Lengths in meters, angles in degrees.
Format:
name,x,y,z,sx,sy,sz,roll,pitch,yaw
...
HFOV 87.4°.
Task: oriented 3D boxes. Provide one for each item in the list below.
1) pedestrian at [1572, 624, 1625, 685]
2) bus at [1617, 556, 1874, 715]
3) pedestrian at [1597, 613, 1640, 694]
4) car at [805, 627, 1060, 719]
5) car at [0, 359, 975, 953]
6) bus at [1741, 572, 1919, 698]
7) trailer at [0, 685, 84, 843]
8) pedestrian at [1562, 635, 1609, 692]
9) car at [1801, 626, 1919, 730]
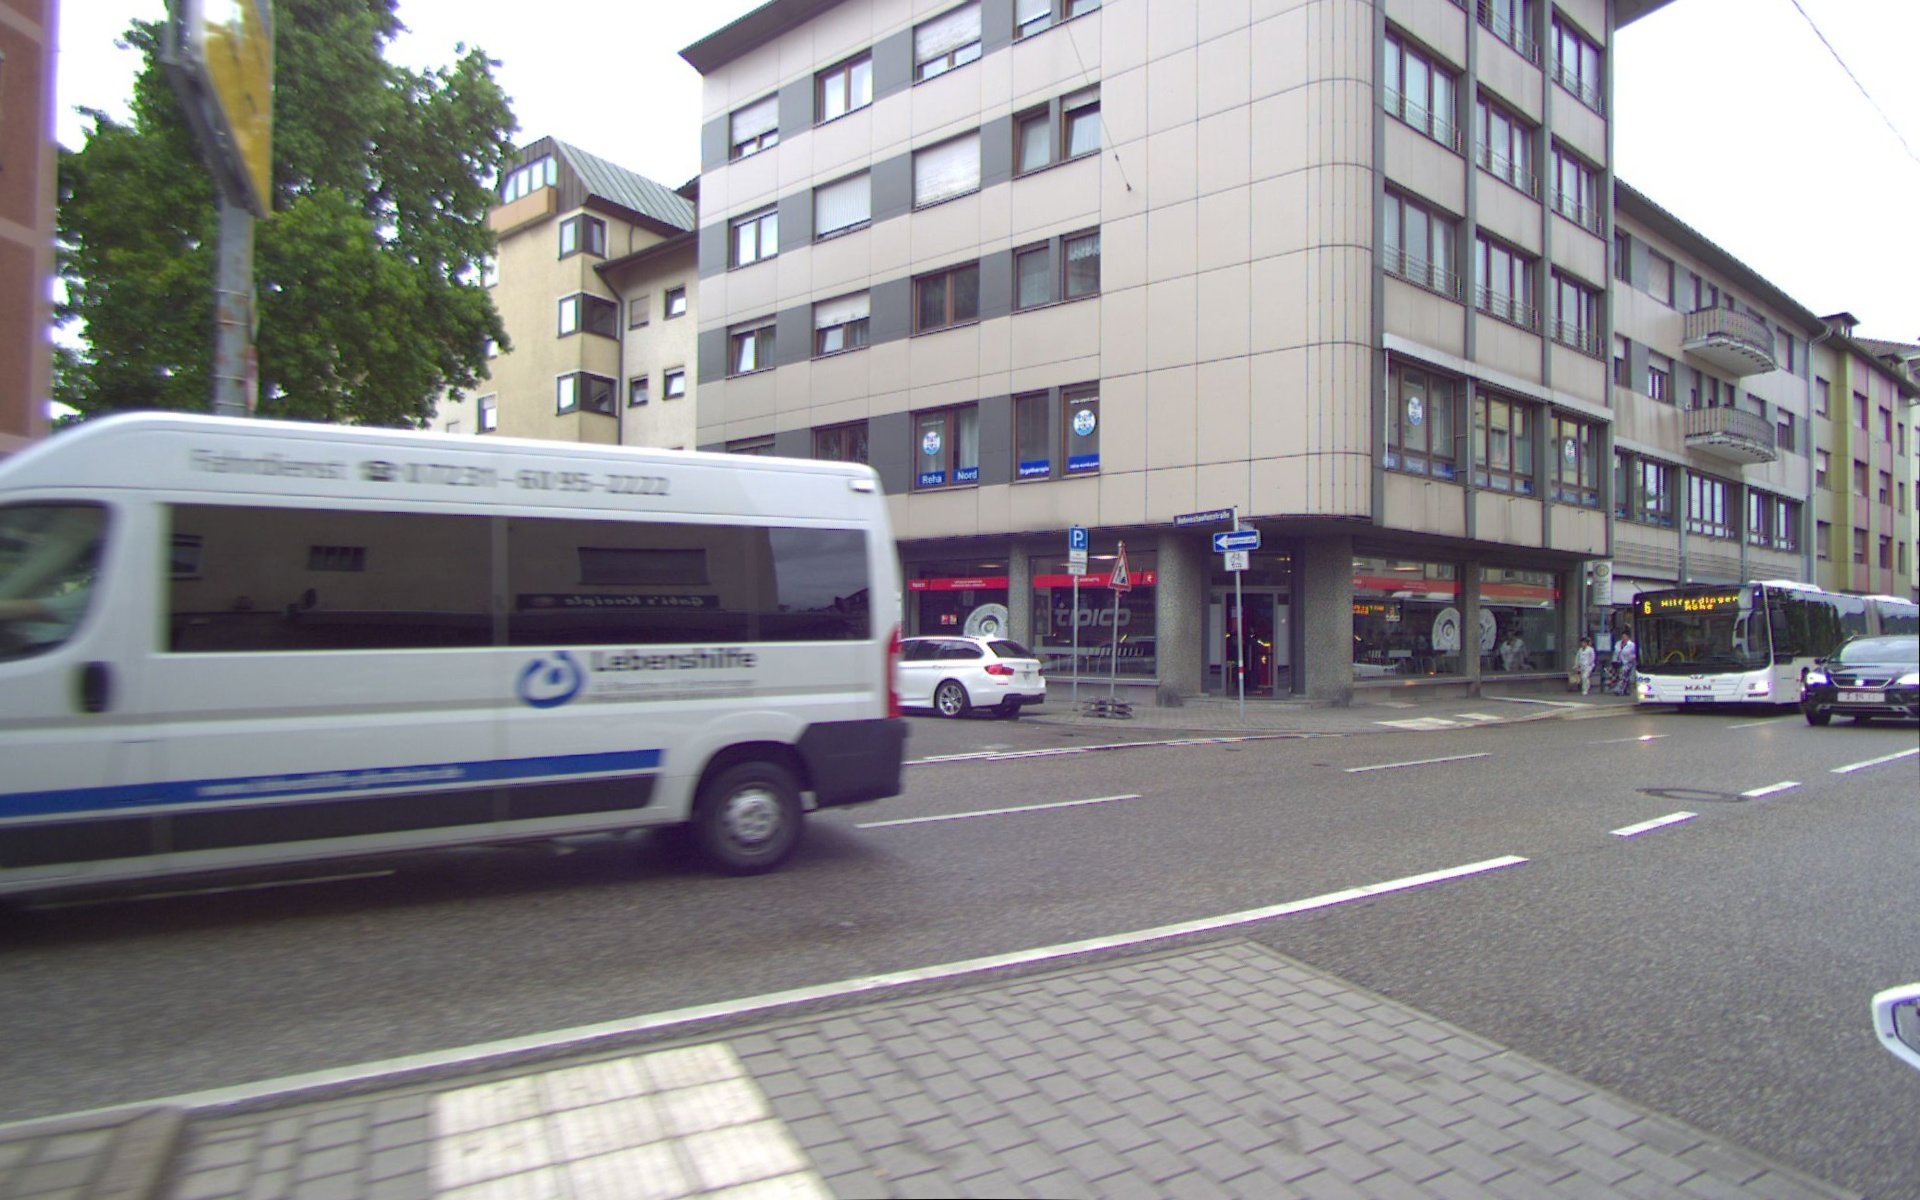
name,x,y,z,sx,sy,sz,roll,pitch,yaw
pedestrian,17.040,1.448,26.812,0.826,1.610,0.939,2,-3,-34
bus,19.112,0.897,24.187,8.830,3.230,2.739,2,-3,-37
pedestrian,17.014,1.371,25.941,0.769,2.040,0.674,2,-2,-34
car,-0.575,1.302,18.933,4.565,1.553,1.901,-1,-3,34
car,-3.139,0.302,5.838,6.275,2.467,2.078,2,-3,-29
bus,26.260,1.090,29.713,9.208,3.230,2.706,2,-3,-37
trailer,-8.143,1.131,6.785,3.016,0.962,1.582,1,-1,-27
pedestrian,15.852,1.610,25.469,0.779,1.414,0.763,2,-3,-34
car,17.101,1.335,18.393,4.378,1.684,1.730,1,-2,-38
